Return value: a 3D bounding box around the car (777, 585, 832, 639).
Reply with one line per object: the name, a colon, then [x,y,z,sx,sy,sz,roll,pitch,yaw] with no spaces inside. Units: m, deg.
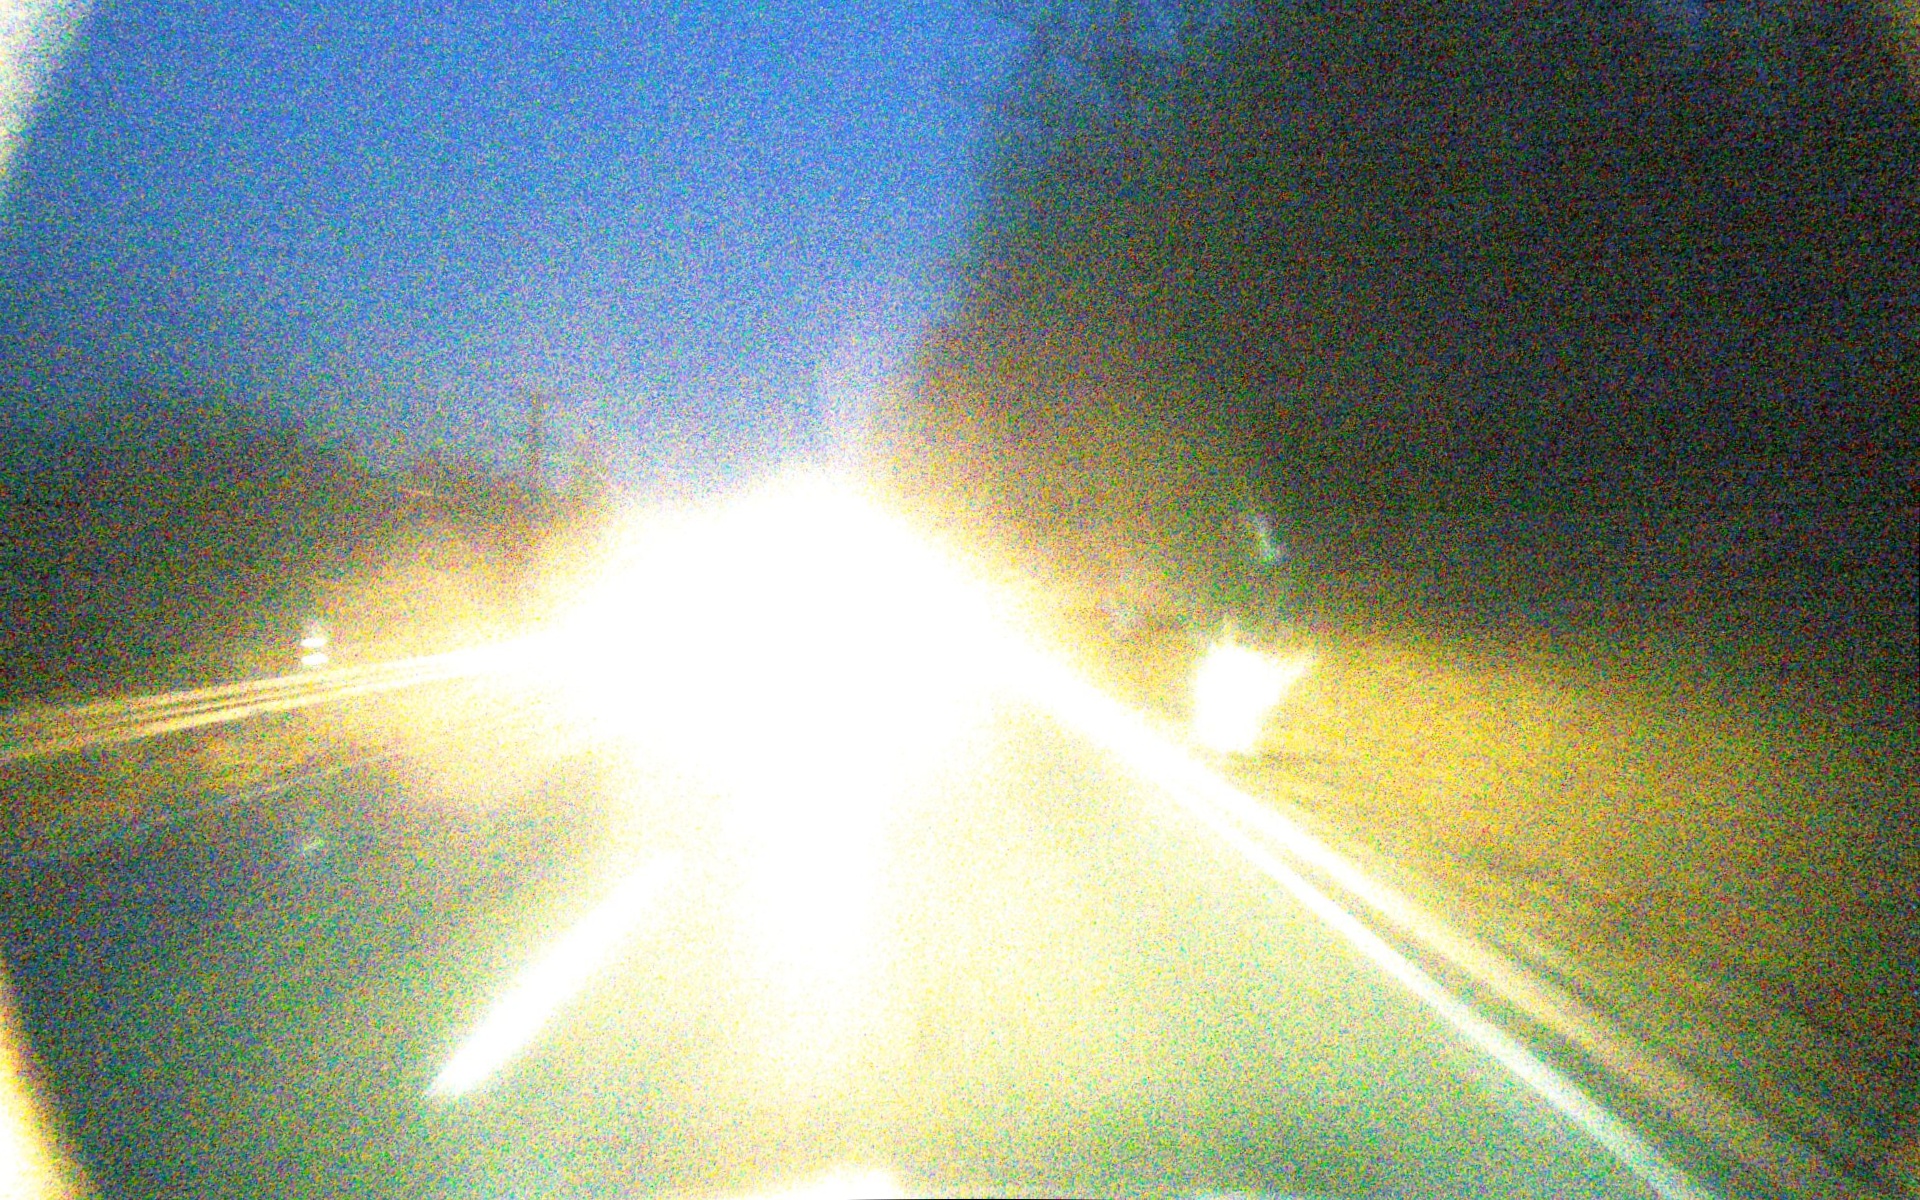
car: [-5.278,0.396,56.526,1.736,1.704,4.051,2,0,-4]
